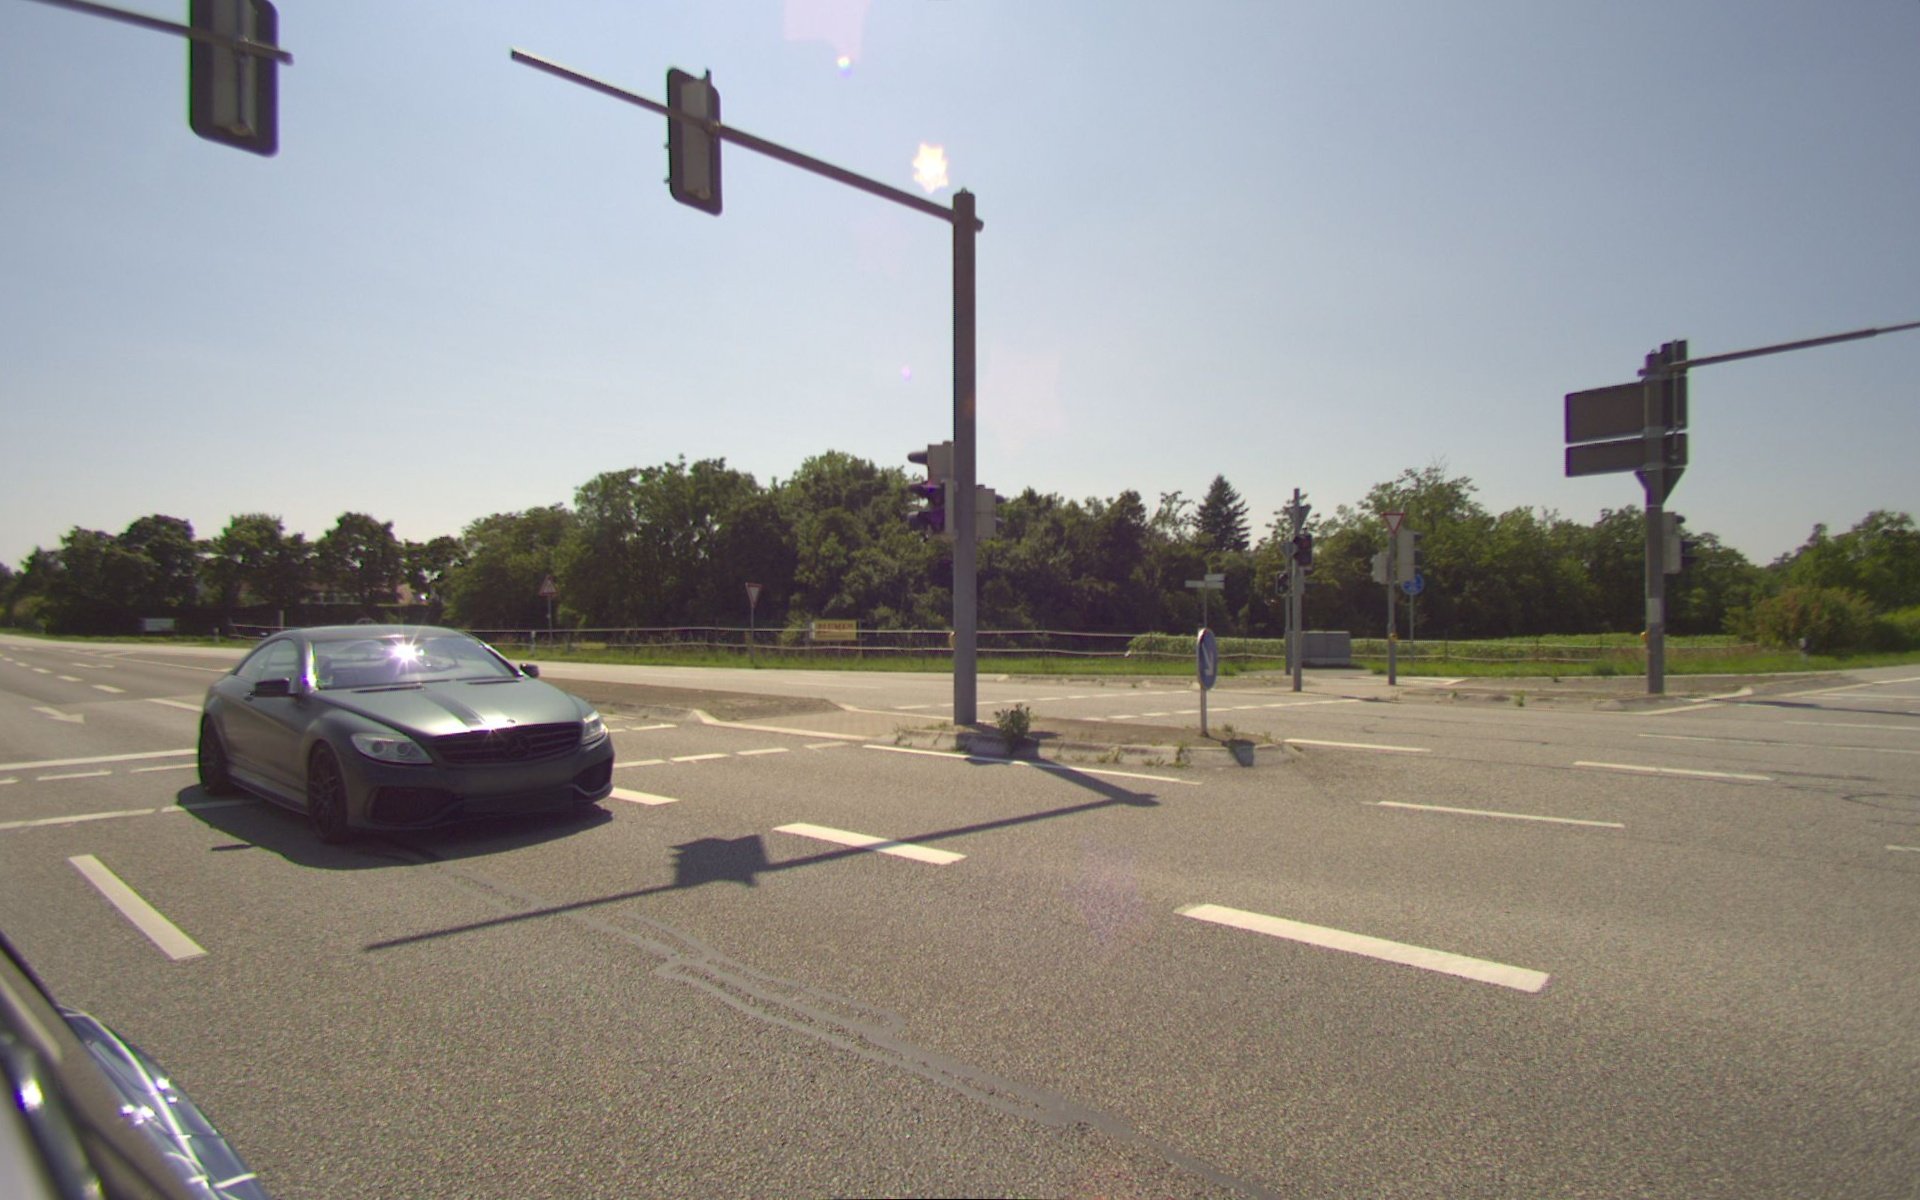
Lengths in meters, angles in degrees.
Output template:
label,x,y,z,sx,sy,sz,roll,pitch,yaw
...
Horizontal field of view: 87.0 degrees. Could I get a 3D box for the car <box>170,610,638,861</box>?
label,x,y,z,sx,sy,sz,roll,pitch,yaw
car,-4.754,0.840,8.254,4.874,1.461,1.792,-1,-1,41
